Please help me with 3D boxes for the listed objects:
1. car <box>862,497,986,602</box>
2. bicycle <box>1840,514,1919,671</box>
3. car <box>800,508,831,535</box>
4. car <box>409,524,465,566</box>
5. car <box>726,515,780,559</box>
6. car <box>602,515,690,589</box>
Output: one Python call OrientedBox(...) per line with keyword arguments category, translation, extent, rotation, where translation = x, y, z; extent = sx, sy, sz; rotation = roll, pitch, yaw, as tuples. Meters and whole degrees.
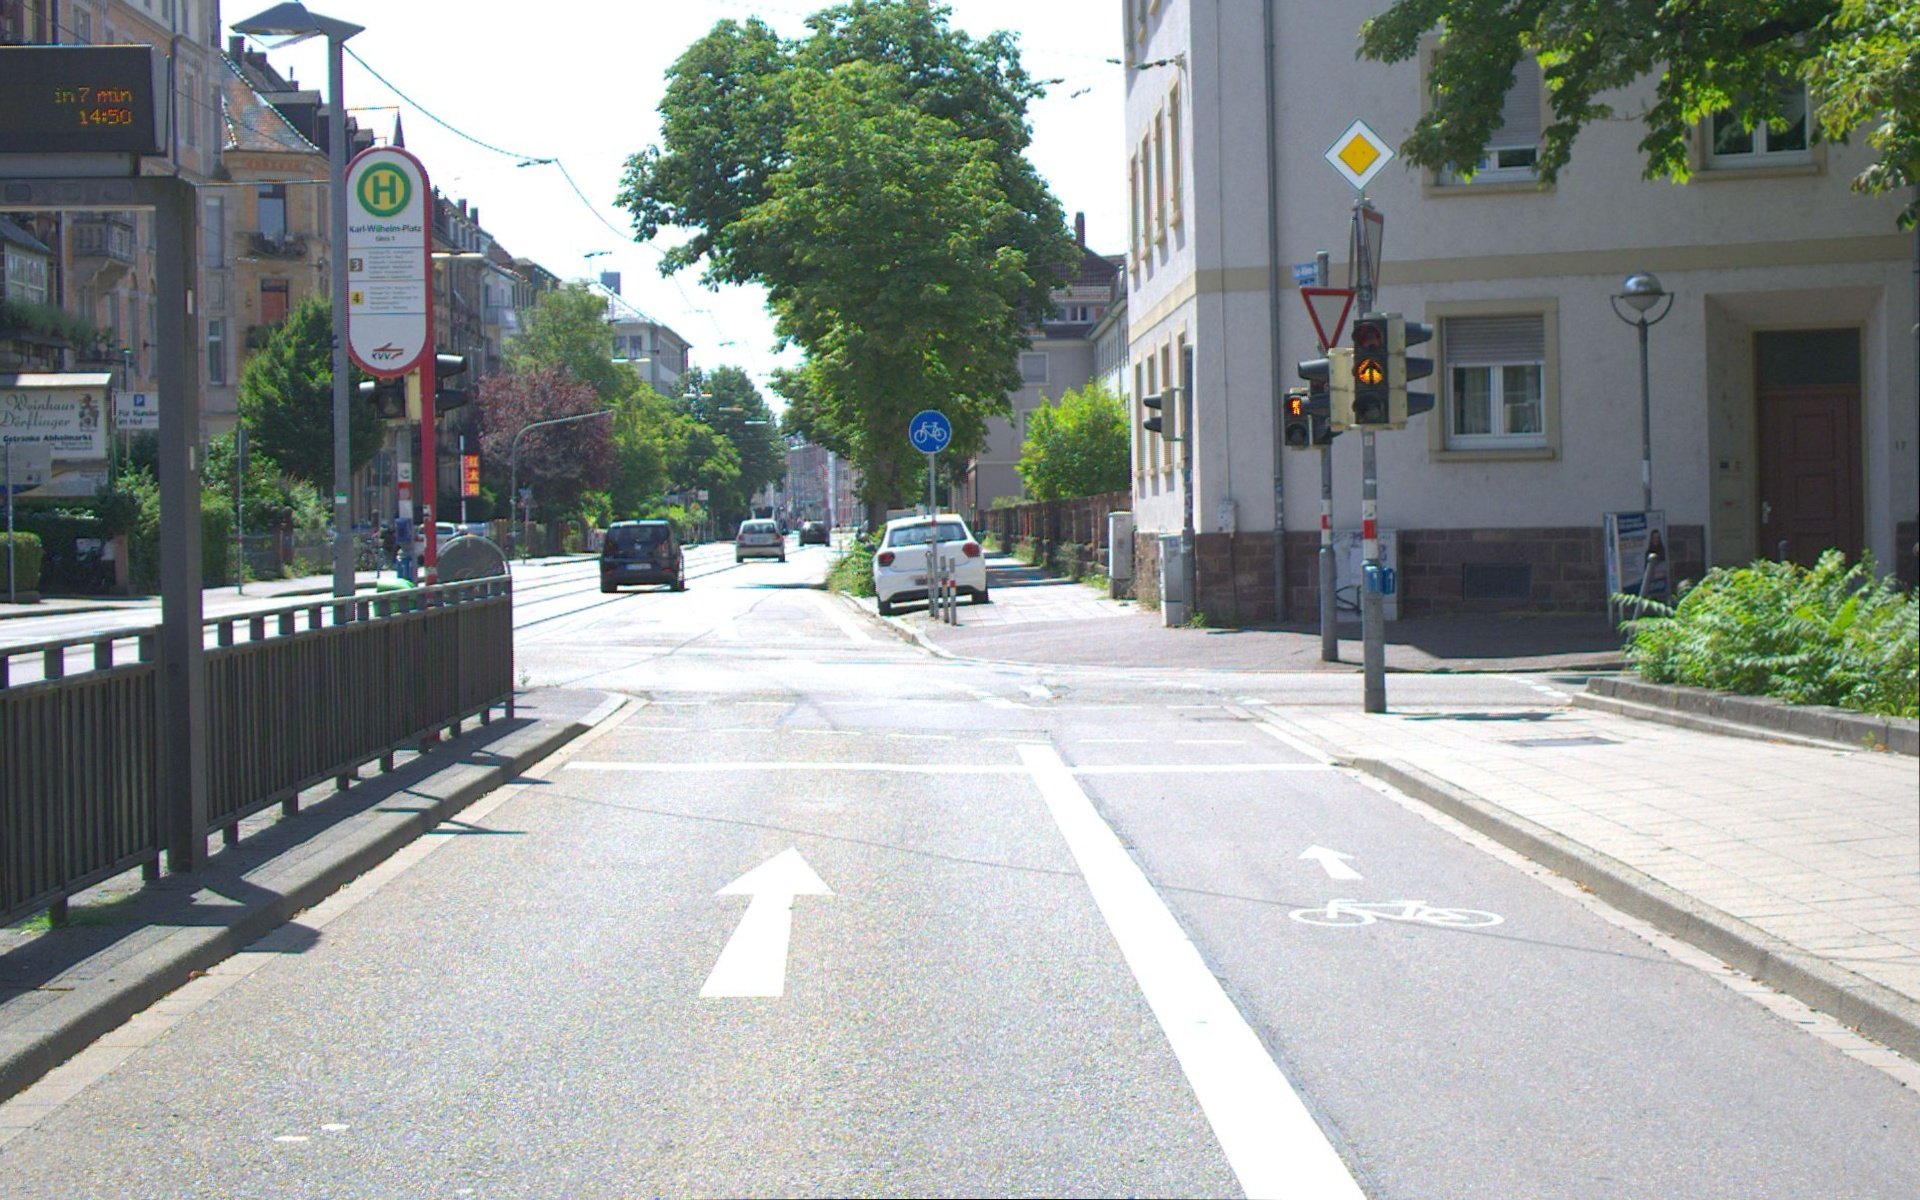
OrientedBox(category="car", translation=(-0.599, -0.806, 53.772), extent=(1.747, 1.467, 3.939), rotation=(-4, 1, -2))
OrientedBox(category="bicycle", translation=(8.038, -0.061, 27.030), extent=(2.084, 1.232, 0.579), rotation=(0, 1, 32))
OrientedBox(category="car", translation=(-8.524, -4.623, 202.599), extent=(1.628, 1.467, 3.564), rotation=(-4, 1, -4))
OrientedBox(category="car", translation=(-20.041, -2.115, 131.797), extent=(1.684, 1.467, 3.939), rotation=(-4, 1, -4))
OrientedBox(category="car", translation=(-7.160, -2.187, 119.380), extent=(1.747, 1.467, 3.939), rotation=(-1, 1, -2))
OrientedBox(category="car", translation=(-6.504, -1.010, 71.451), extent=(1.525, 1.439, 3.365), rotation=(-3, 1, -1))
